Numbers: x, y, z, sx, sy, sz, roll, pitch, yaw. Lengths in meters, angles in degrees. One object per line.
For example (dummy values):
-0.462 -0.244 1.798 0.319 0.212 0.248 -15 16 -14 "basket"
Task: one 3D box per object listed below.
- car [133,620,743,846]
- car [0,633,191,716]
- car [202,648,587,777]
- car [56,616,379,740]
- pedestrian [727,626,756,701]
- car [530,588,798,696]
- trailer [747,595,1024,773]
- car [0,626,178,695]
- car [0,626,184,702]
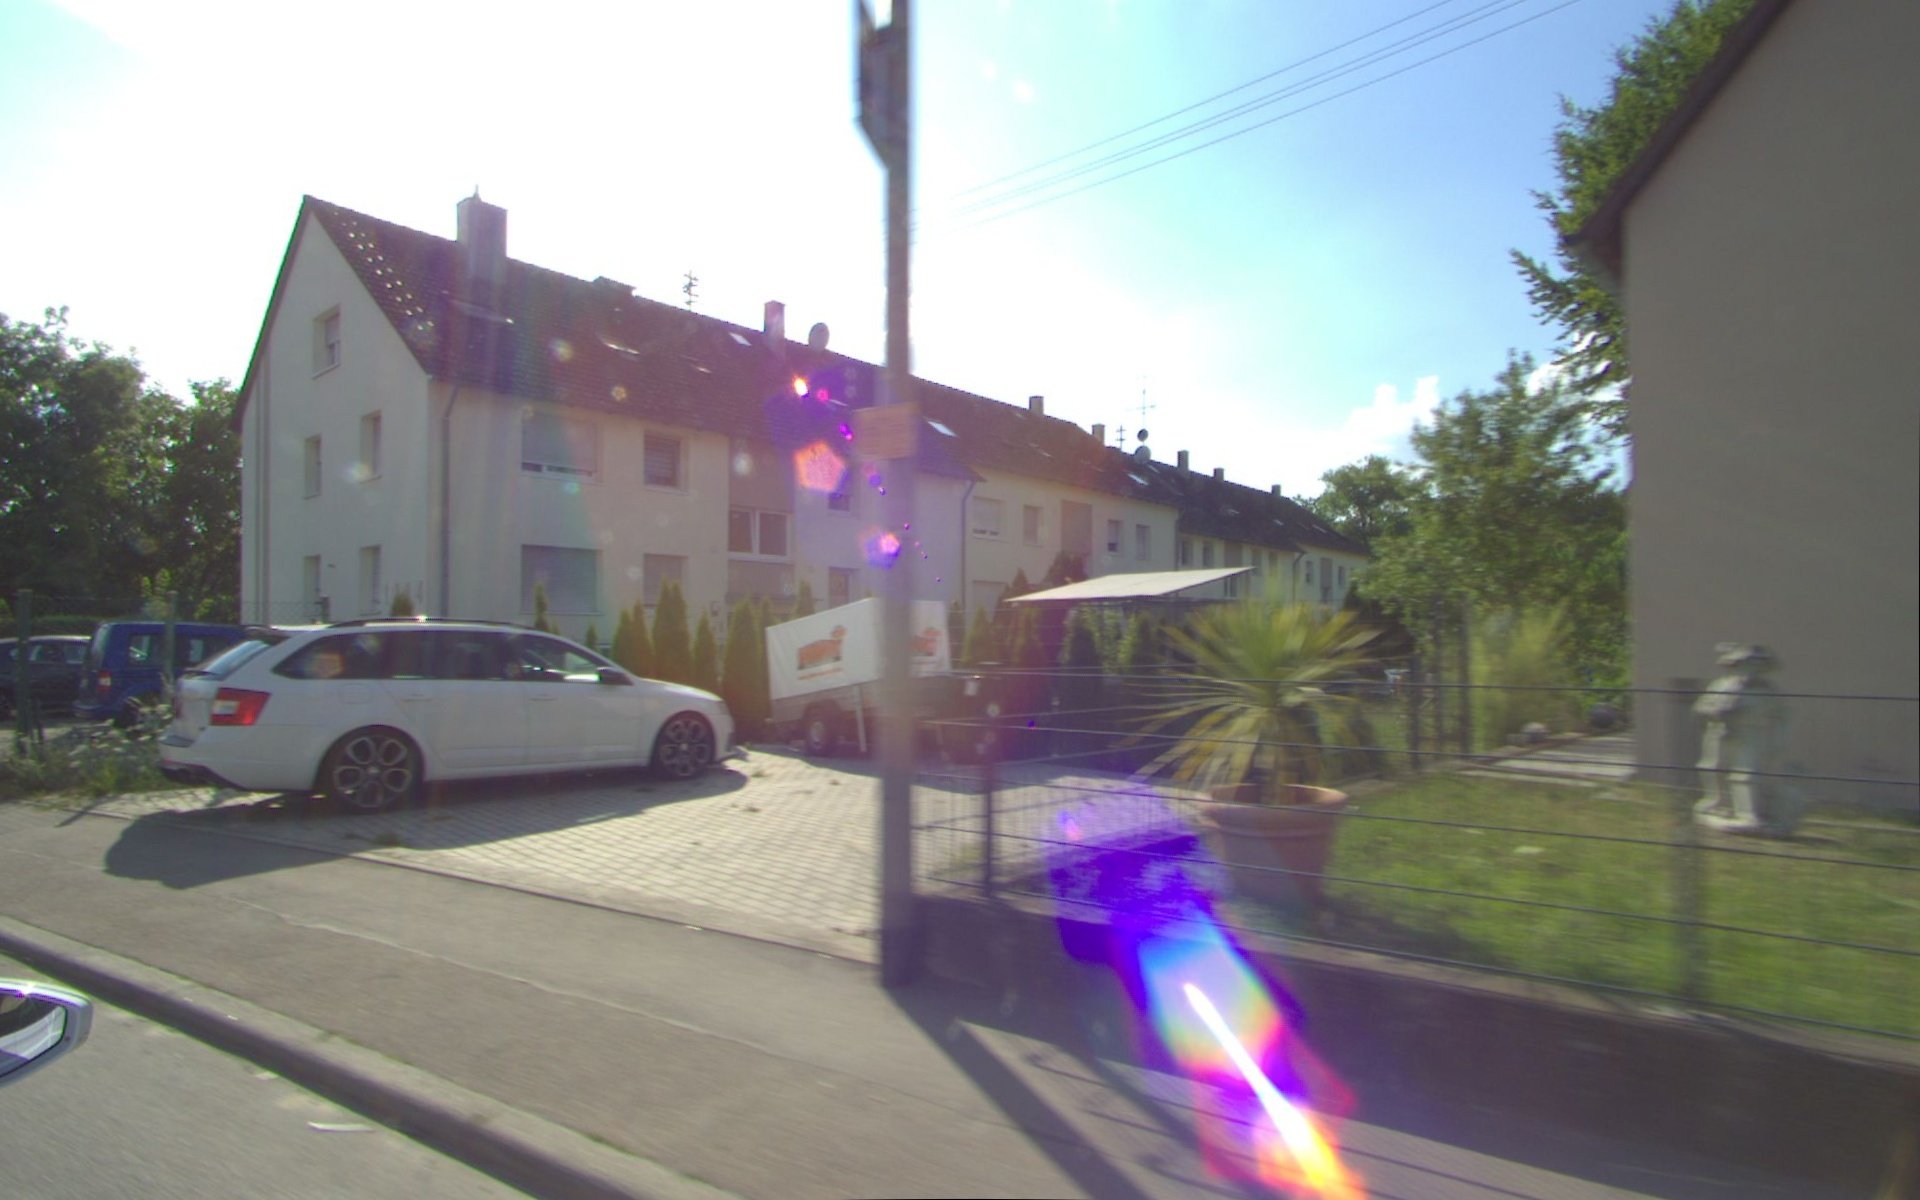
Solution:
-4.253 0.957 8.799 1.712 1.476 4.443 -1 -2 42 "car"
-16.979 1.387 19.290 1.632 1.469 3.193 0 -2 42 "car"
-7.315 1.431 13.151 4.195 1.537 1.702 0 -5 9 "car"
-12.676 1.261 17.313 1.746 1.810 4.183 2 0 40 "car"
-5.104 1.475 23.376 0.408 1.727 0.531 0 0 44 "pedestrian"
-4.567 0.680 15.716 3.606 1.563 1.767 0 -3 9 "car"
-0.948 0.881 11.676 1.511 1.774 3.185 2 -2 -45 "trailer"
-20.428 1.346 22.914 1.617 1.469 3.728 0 -2 40 "car"
-18.415 1.303 21.023 1.558 1.469 3.114 0 -2 40 "car"
